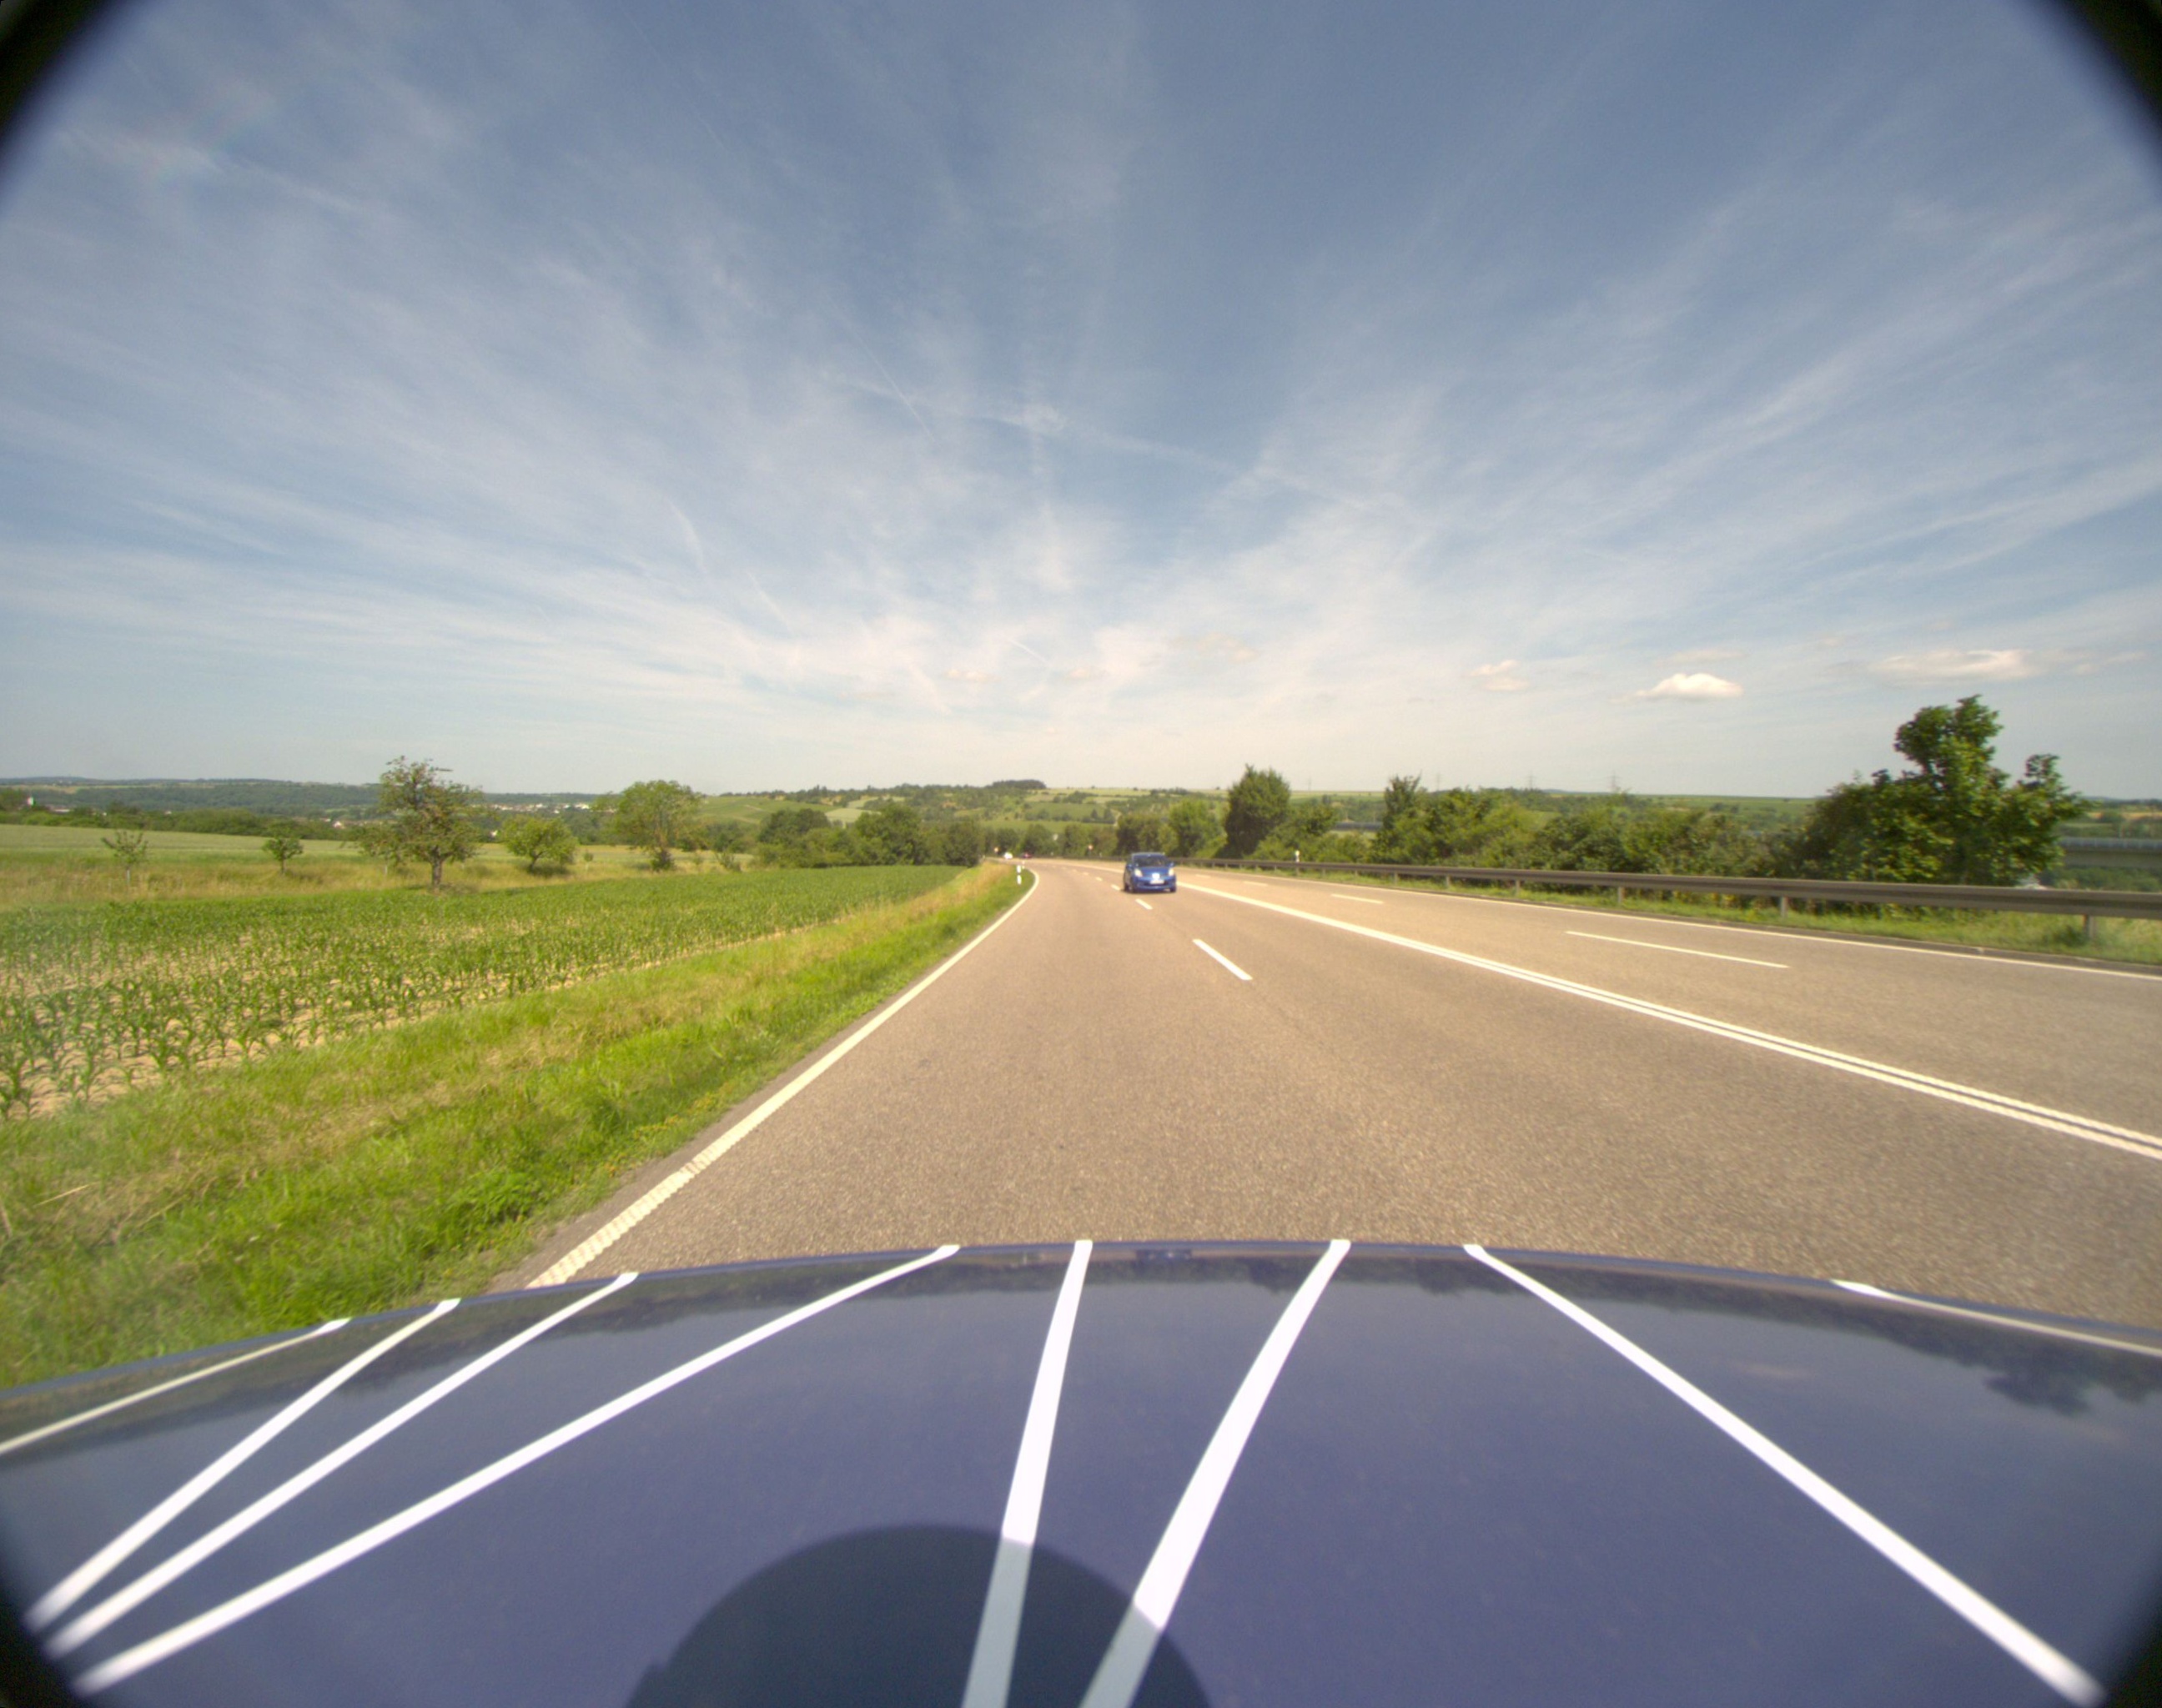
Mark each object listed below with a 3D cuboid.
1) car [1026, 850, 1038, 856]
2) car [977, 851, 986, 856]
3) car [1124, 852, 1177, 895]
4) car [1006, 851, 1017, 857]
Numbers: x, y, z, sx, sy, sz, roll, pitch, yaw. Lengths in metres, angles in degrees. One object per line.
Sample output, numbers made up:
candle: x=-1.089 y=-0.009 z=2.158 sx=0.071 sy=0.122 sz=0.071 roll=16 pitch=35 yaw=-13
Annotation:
car: x=-11.321 y=-0.219 z=173.641 sx=1.843 sy=1.447 sz=4.319 roll=-1 pitch=1 yaw=-16
car: x=-28.528 y=-0.169 z=217.064 sx=1.725 sy=1.453 sz=4.208 roll=-3 pitch=1 yaw=-19
car: x=2.667 y=0.712 z=29.930 sx=1.636 sy=1.522 sz=3.914 roll=-2 pitch=0 yaw=-1
car: x=-17.321 y=0.001 z=189.523 sx=1.664 sy=1.449 sz=3.727 roll=-1 pitch=1 yaw=-20
